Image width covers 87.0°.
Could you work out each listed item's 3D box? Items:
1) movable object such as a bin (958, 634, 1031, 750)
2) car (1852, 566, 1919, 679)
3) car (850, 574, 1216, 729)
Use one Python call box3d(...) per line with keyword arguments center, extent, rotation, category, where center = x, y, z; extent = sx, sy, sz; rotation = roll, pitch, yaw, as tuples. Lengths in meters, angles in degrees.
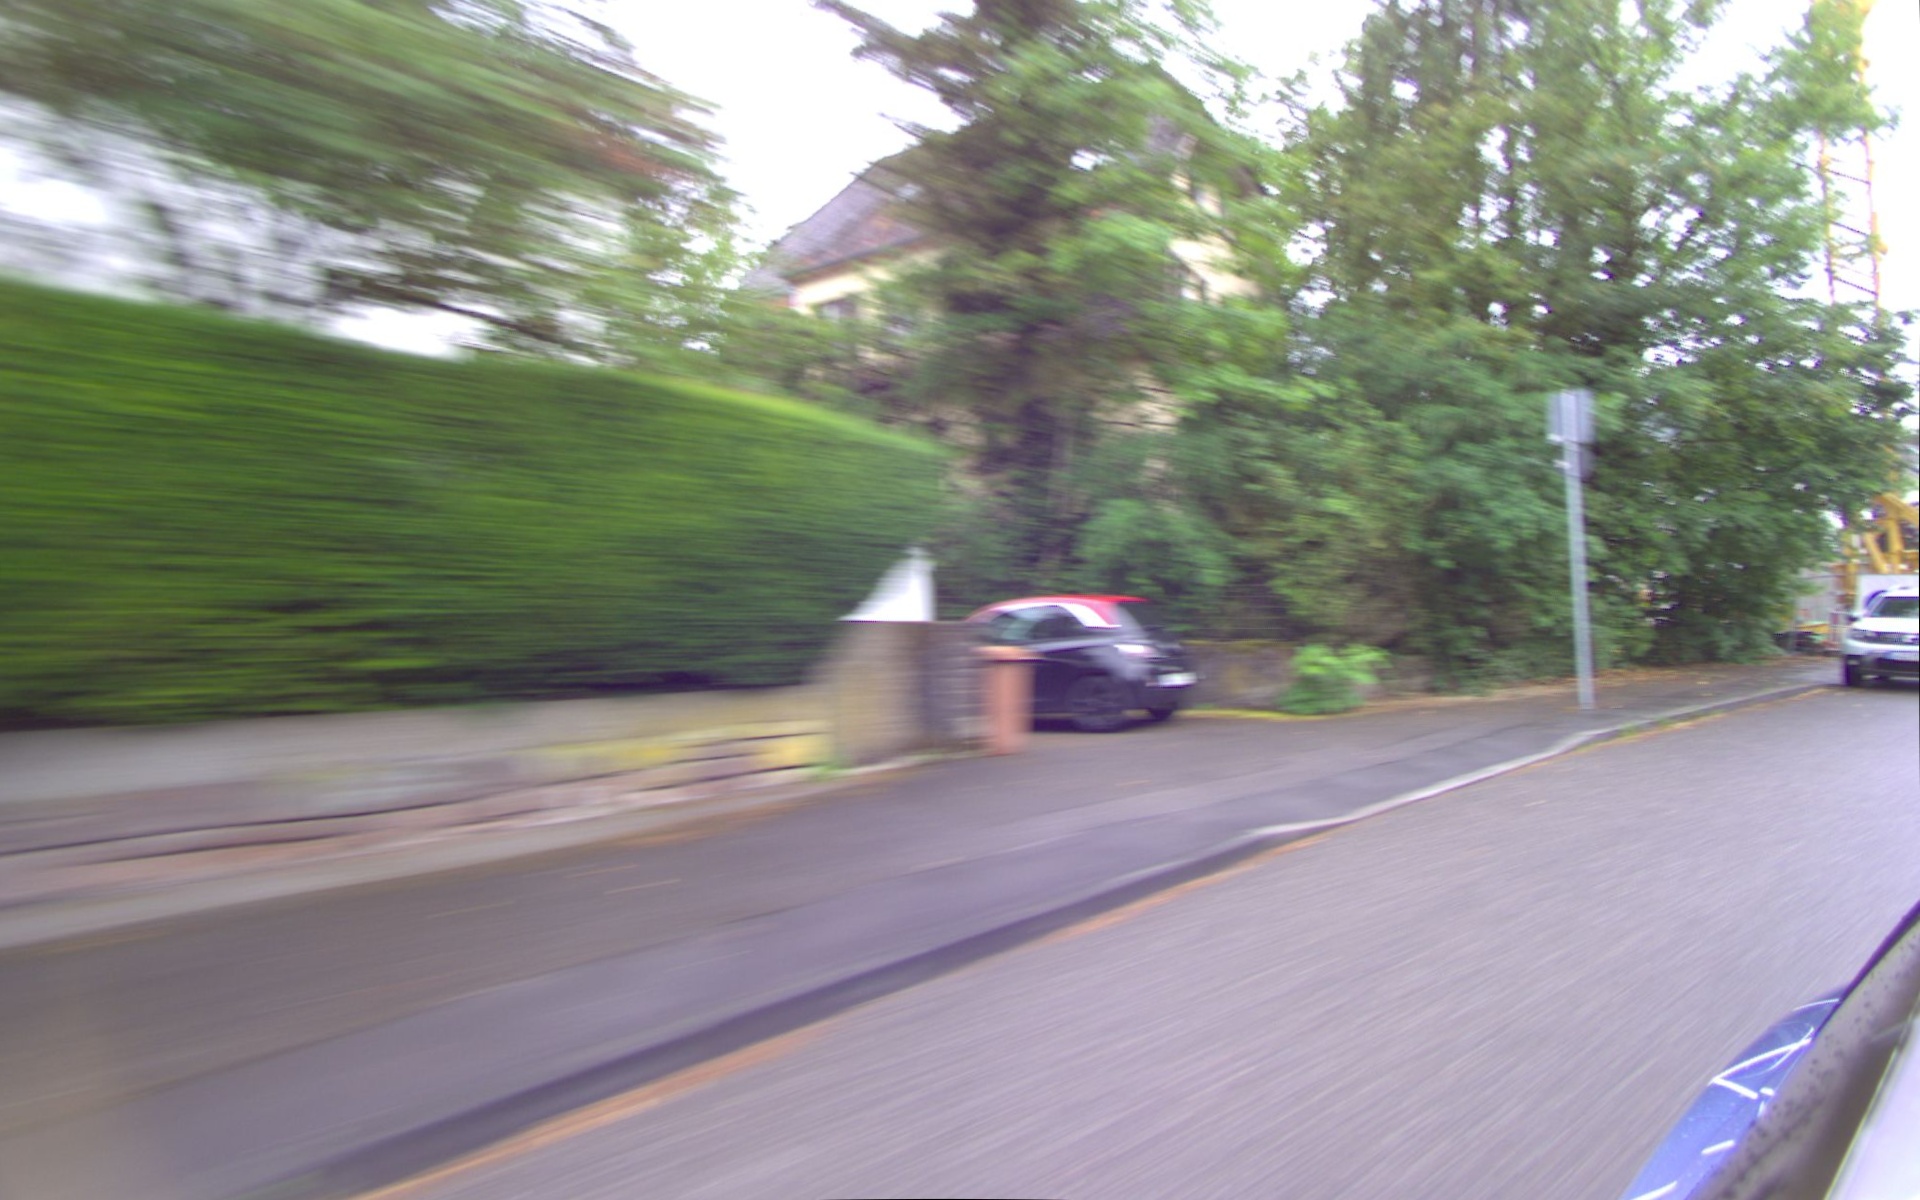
box3d(center=(0.297, 0.767, 8.621), extent=(0.418, 0.932, 0.456), rotation=(-2, -1, 42), category="movable object such as a bin")
box3d(center=(16.399, 0.332, 16.737), extent=(4.421, 1.727, 1.749), rotation=(0, 0, -39), category="car")
box3d(center=(0.755, 0.603, 11.869), extent=(3.977, 1.516, 1.748), rotation=(-3, -3, 38), category="car")
